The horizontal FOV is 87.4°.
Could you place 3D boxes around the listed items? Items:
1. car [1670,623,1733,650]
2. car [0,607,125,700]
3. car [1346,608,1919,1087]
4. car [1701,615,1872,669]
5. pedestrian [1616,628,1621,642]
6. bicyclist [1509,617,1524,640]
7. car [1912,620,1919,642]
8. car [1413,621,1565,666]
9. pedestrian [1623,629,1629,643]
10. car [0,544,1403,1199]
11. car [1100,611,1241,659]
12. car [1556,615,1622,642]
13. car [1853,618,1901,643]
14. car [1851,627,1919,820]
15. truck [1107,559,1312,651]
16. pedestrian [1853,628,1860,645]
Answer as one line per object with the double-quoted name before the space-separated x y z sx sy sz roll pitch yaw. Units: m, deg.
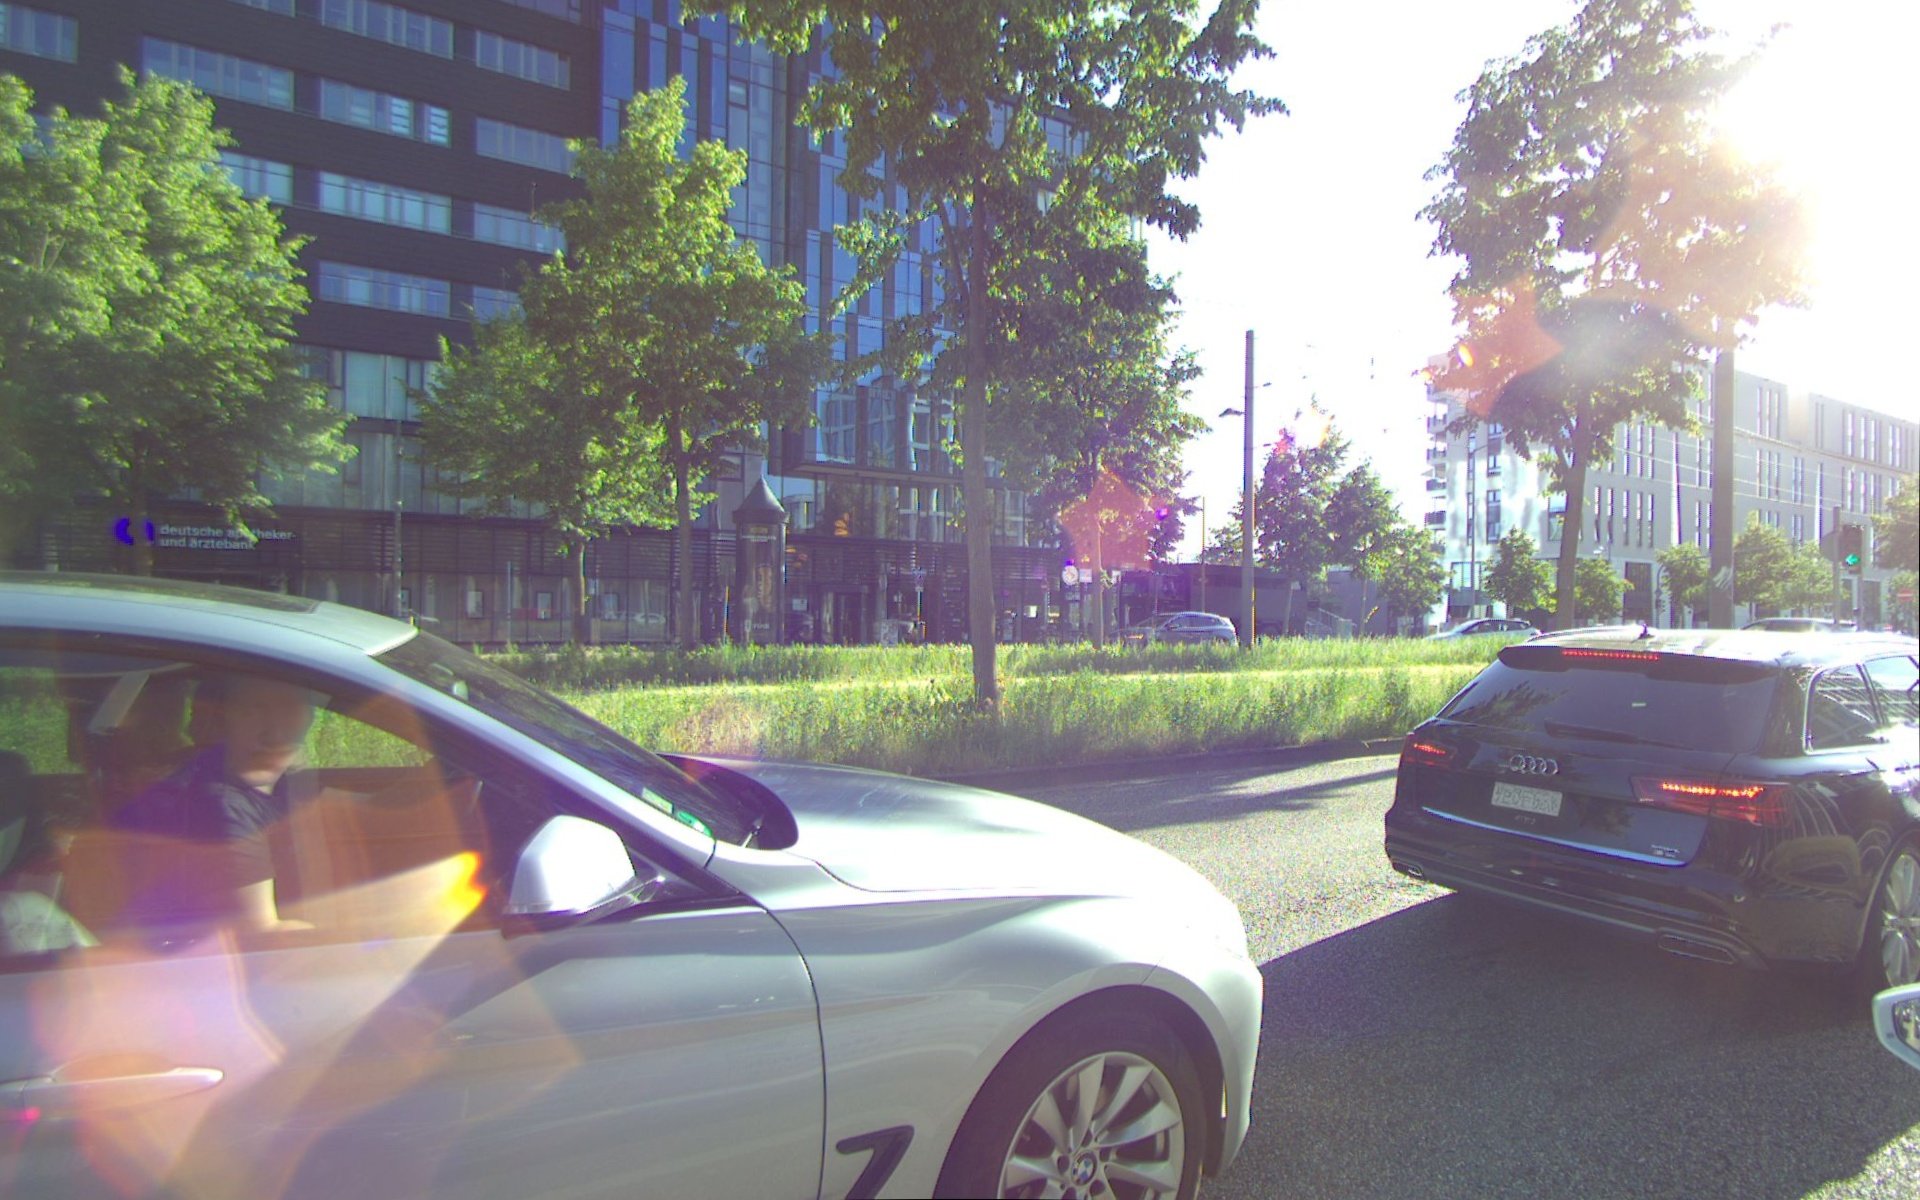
"car" 51.472 2.519 69.678 4.319 1.838 1.984 1 -1 -30
"car" -17.928 0.930 17.831 4.517 1.503 1.789 1 3 -32
"car" 4.409 0.836 5.266 4.911 1.504 1.864 1 -1 -32
"car" 25.451 1.249 31.124 1.492 1.512 4.210 1 -1 -8
"pedestrian" 52.777 2.810 80.531 0.257 1.100 0.252 1 0 -30
"bicyclist" 37.951 1.951 68.509 0.706 1.549 0.674 1 0 -30
"car" 90.299 2.886 93.138 3.953 2.040 1.984 1 -1 -30
"car" 18.848 1.537 35.966 4.475 1.467 1.806 1 -1 9
"pedestrian" 53.096 2.839 80.085 0.286 1.100 0.252 1 0 -30
"car" -1.310 0.699 2.045 4.509 1.504 1.810 1 -1 -31
"car" 6.942 1.136 32.976 4.514 1.467 1.791 1 -1 -30
"car" 37.533 1.691 59.904 3.953 1.540 1.756 1 -1 -30
"car" 78.100 2.600 85.524 3.953 2.040 1.984 1 -1 -30
"car" 9.341 0.979 8.229 4.288 1.445 1.833 1 -1 -30
"truck" 11.698 0.306 46.498 10.094 3.904 2.877 1 -1 -31
"pedestrian" 94.393 3.796 105.744 0.474 1.767 0.466 1 0 -30
